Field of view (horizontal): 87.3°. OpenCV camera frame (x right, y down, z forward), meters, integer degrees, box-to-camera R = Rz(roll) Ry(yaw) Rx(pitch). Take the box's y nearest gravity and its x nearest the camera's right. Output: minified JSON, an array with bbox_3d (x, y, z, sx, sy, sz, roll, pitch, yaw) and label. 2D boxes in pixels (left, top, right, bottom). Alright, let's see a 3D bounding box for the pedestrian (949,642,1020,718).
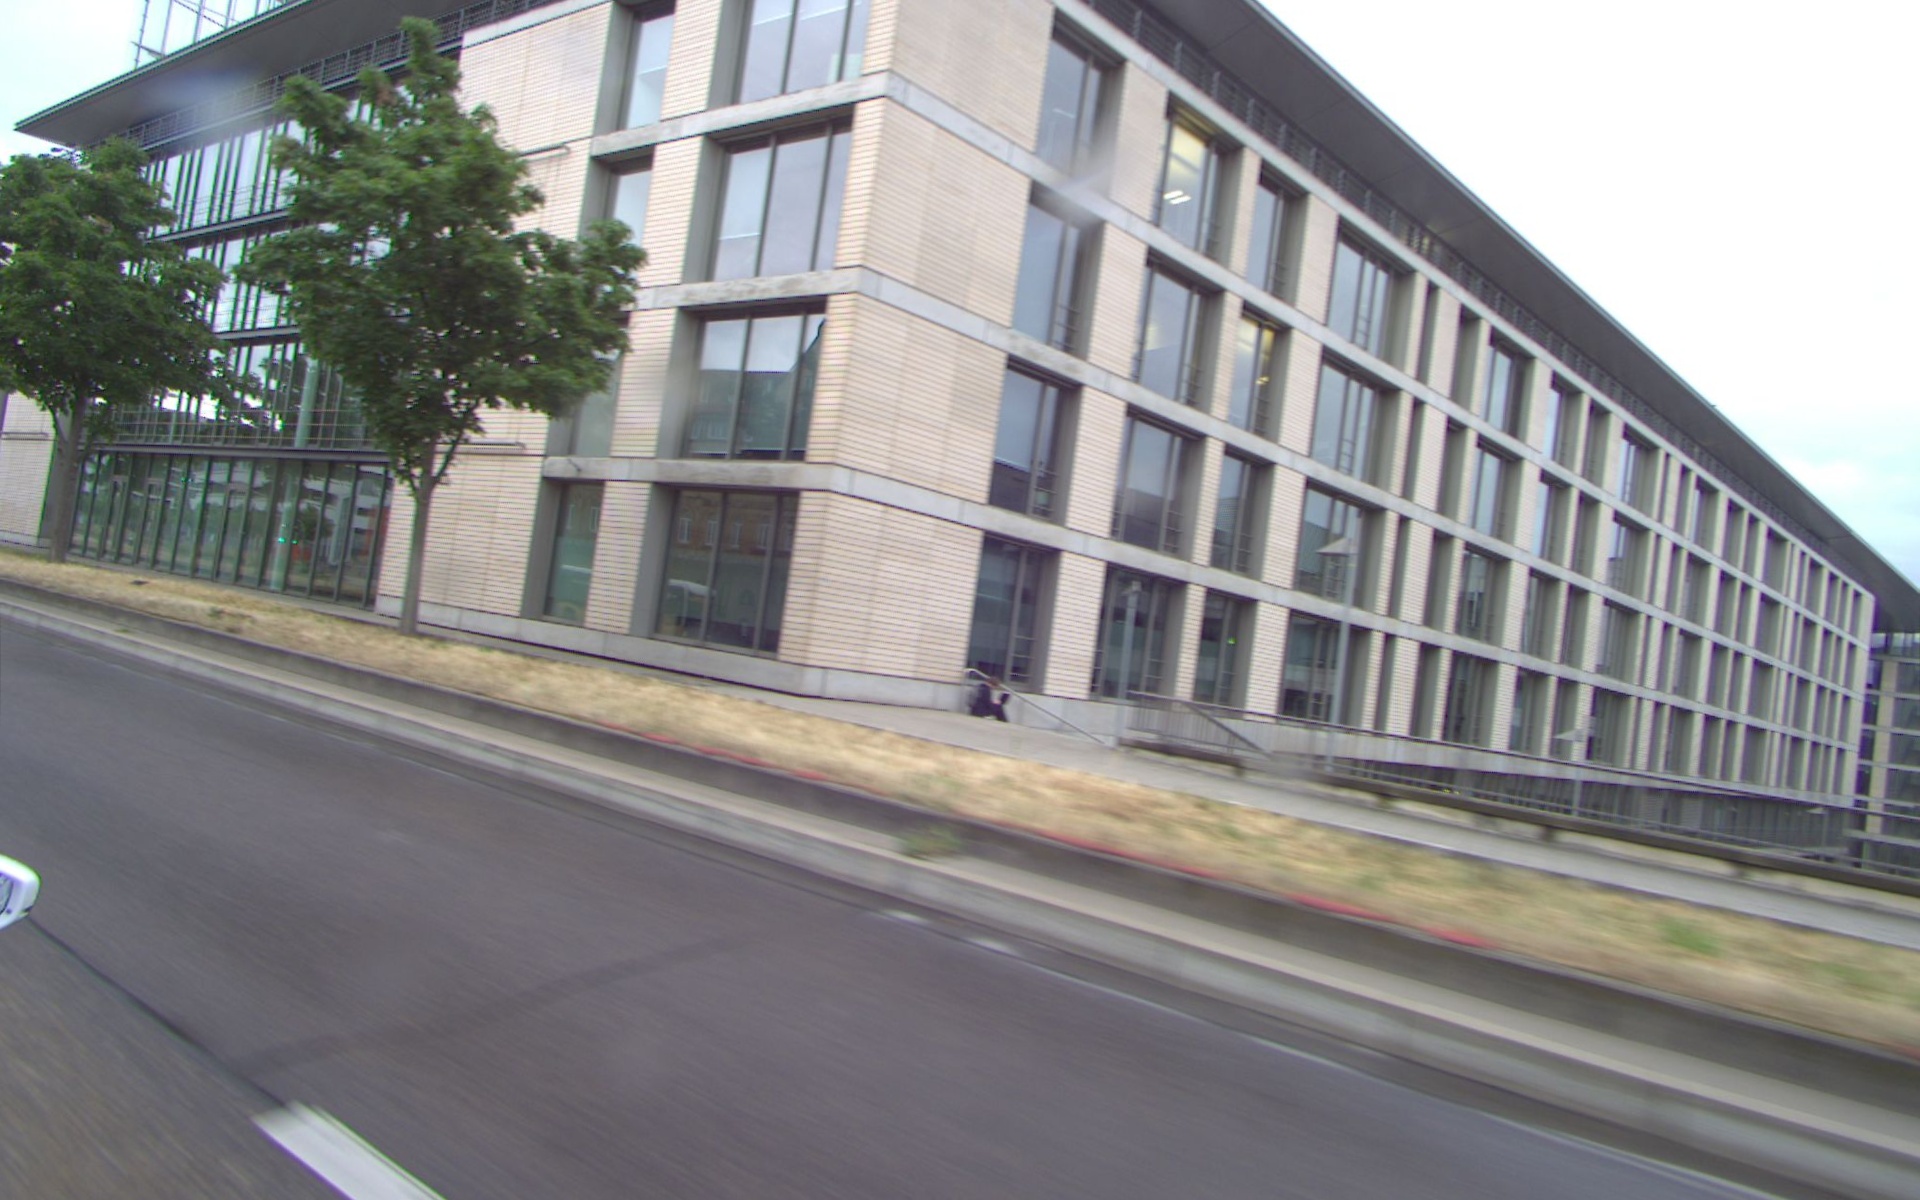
[{"bbox_3d":[0.495,1.622,20.427,0.872,1.355,0.958,8,-2,-41],"label":"pedestrian"}]
